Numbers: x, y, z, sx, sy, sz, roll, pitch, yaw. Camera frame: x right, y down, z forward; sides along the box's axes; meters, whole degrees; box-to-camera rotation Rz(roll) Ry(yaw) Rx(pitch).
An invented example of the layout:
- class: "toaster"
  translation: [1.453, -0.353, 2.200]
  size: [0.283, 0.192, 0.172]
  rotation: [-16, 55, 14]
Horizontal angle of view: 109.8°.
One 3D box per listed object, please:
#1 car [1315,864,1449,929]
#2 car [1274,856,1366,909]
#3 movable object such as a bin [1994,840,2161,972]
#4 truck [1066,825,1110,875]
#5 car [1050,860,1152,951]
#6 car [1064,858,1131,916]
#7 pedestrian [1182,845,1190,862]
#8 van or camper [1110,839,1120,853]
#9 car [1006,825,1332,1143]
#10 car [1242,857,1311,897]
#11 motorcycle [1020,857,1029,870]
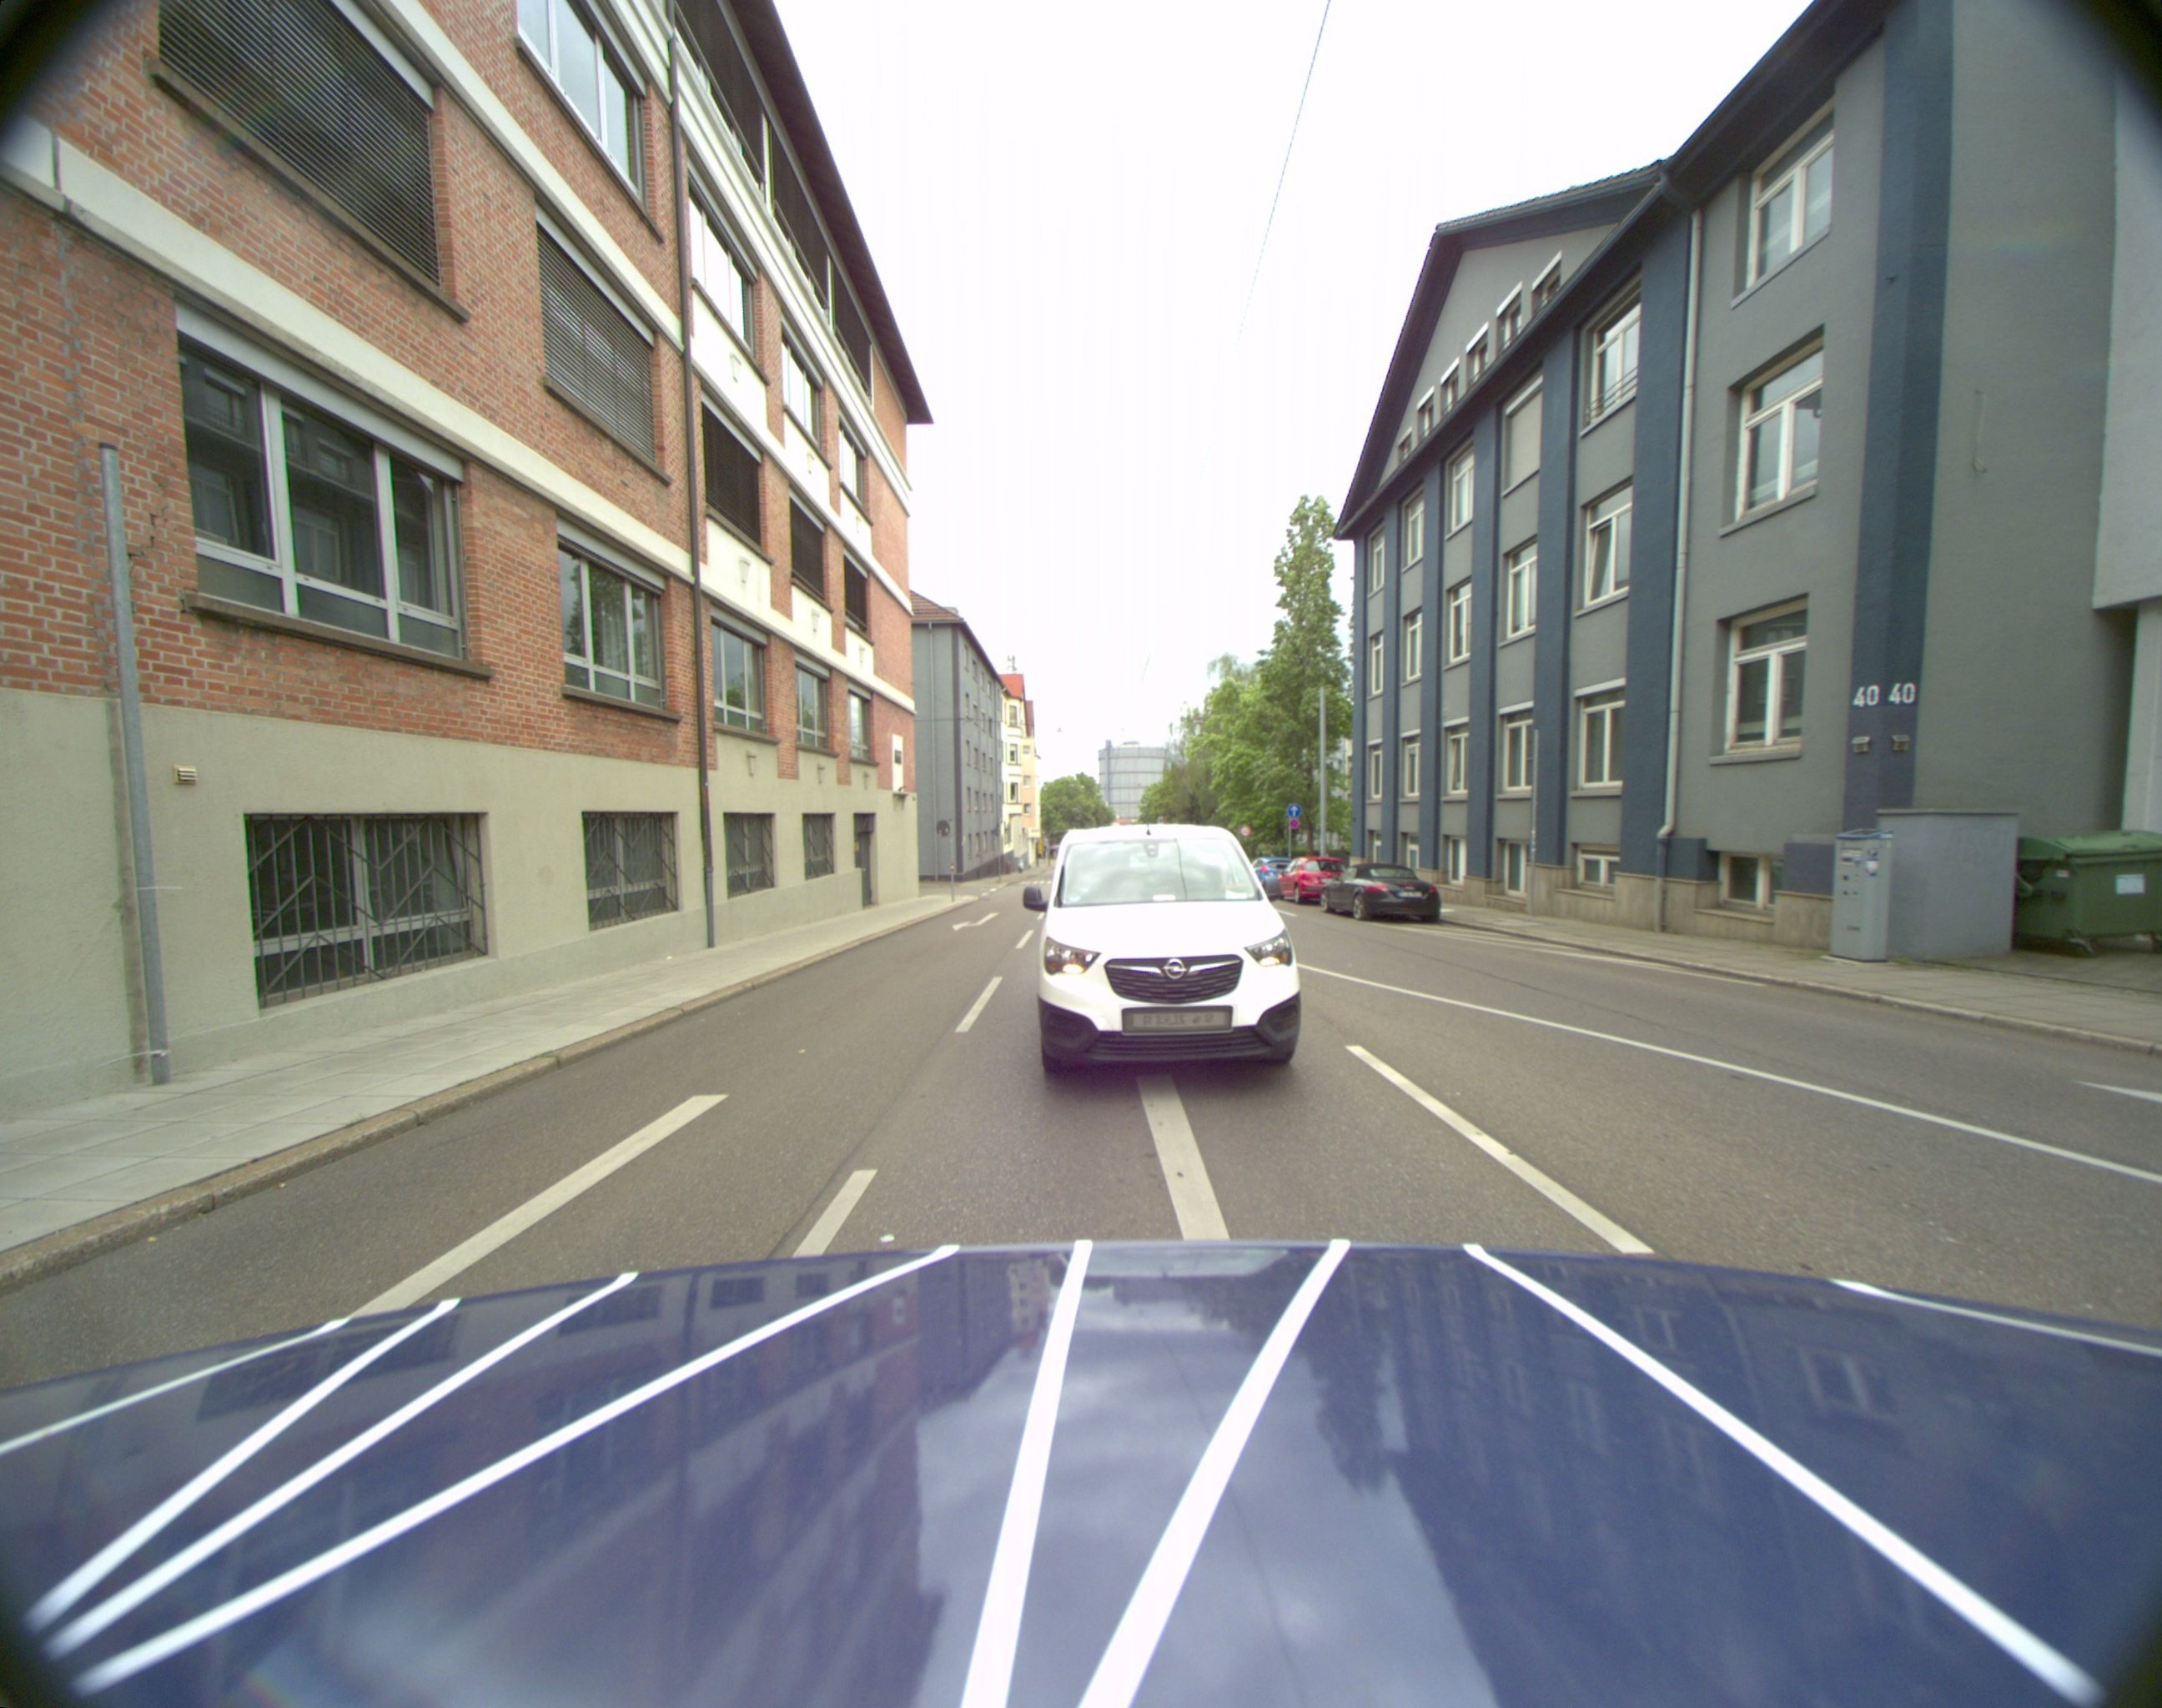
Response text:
- class: "car"
  translation: [7.193, 0.955, 18.605]
  size: [1.724, 1.319, 4.041]
  rotation: [2, 0, 1]
- class: "car"
  translation: [7.525, 0.844, 24.295]
  size: [1.819, 1.465, 3.869]
  rotation: [2, 0, 2]
- class: "movable object such as a bin"
  translation: [12.080, 0.600, 9.106]
  size: [1.267, 1.448, 0.784]
  rotation: [-3, 2, 4]
- class: "truck"
  translation: [0.583, -0.278, 58.191]
  size: [2.980, 3.394, 9.358]
  rotation: [-2, 0, 1]
- class: "car"
  translation: [0.391, 0.886, 14.767]
  size: [1.724, 1.486, 3.727]
  rotation: [1, 0, 2]
- class: "car"
  translation: [0.489, 0.868, 21.678]
  size: [1.724, 1.486, 3.727]
  rotation: [1, 0, 2]
- class: "pedestrian"
  translation: [11.379, -0.091, 82.690]
  size: [0.746, 1.839, 0.776]
  rotation: [-1, 1, 2]
- class: "van or camper"
  translation: [6.746, -1.514, 149.782]
  size: [1.914, 2.754, 5.925]
  rotation: [1, 0, 2]
- class: "car"
  translation: [0.561, 0.755, 6.915]
  size: [1.840, 1.797, 4.939]
  rotation: [-2, 0, 1]
- class: "car"
  translation: [7.566, 0.842, 29.772]
  size: [1.724, 1.445, 3.727]
  rotation: [1, 0, 0]
- class: "motorcycle"
  translation: [-5.072, 0.868, 68.558]
  size: [0.566, 1.105, 1.653]
  rotation: [4, 0, 2]
